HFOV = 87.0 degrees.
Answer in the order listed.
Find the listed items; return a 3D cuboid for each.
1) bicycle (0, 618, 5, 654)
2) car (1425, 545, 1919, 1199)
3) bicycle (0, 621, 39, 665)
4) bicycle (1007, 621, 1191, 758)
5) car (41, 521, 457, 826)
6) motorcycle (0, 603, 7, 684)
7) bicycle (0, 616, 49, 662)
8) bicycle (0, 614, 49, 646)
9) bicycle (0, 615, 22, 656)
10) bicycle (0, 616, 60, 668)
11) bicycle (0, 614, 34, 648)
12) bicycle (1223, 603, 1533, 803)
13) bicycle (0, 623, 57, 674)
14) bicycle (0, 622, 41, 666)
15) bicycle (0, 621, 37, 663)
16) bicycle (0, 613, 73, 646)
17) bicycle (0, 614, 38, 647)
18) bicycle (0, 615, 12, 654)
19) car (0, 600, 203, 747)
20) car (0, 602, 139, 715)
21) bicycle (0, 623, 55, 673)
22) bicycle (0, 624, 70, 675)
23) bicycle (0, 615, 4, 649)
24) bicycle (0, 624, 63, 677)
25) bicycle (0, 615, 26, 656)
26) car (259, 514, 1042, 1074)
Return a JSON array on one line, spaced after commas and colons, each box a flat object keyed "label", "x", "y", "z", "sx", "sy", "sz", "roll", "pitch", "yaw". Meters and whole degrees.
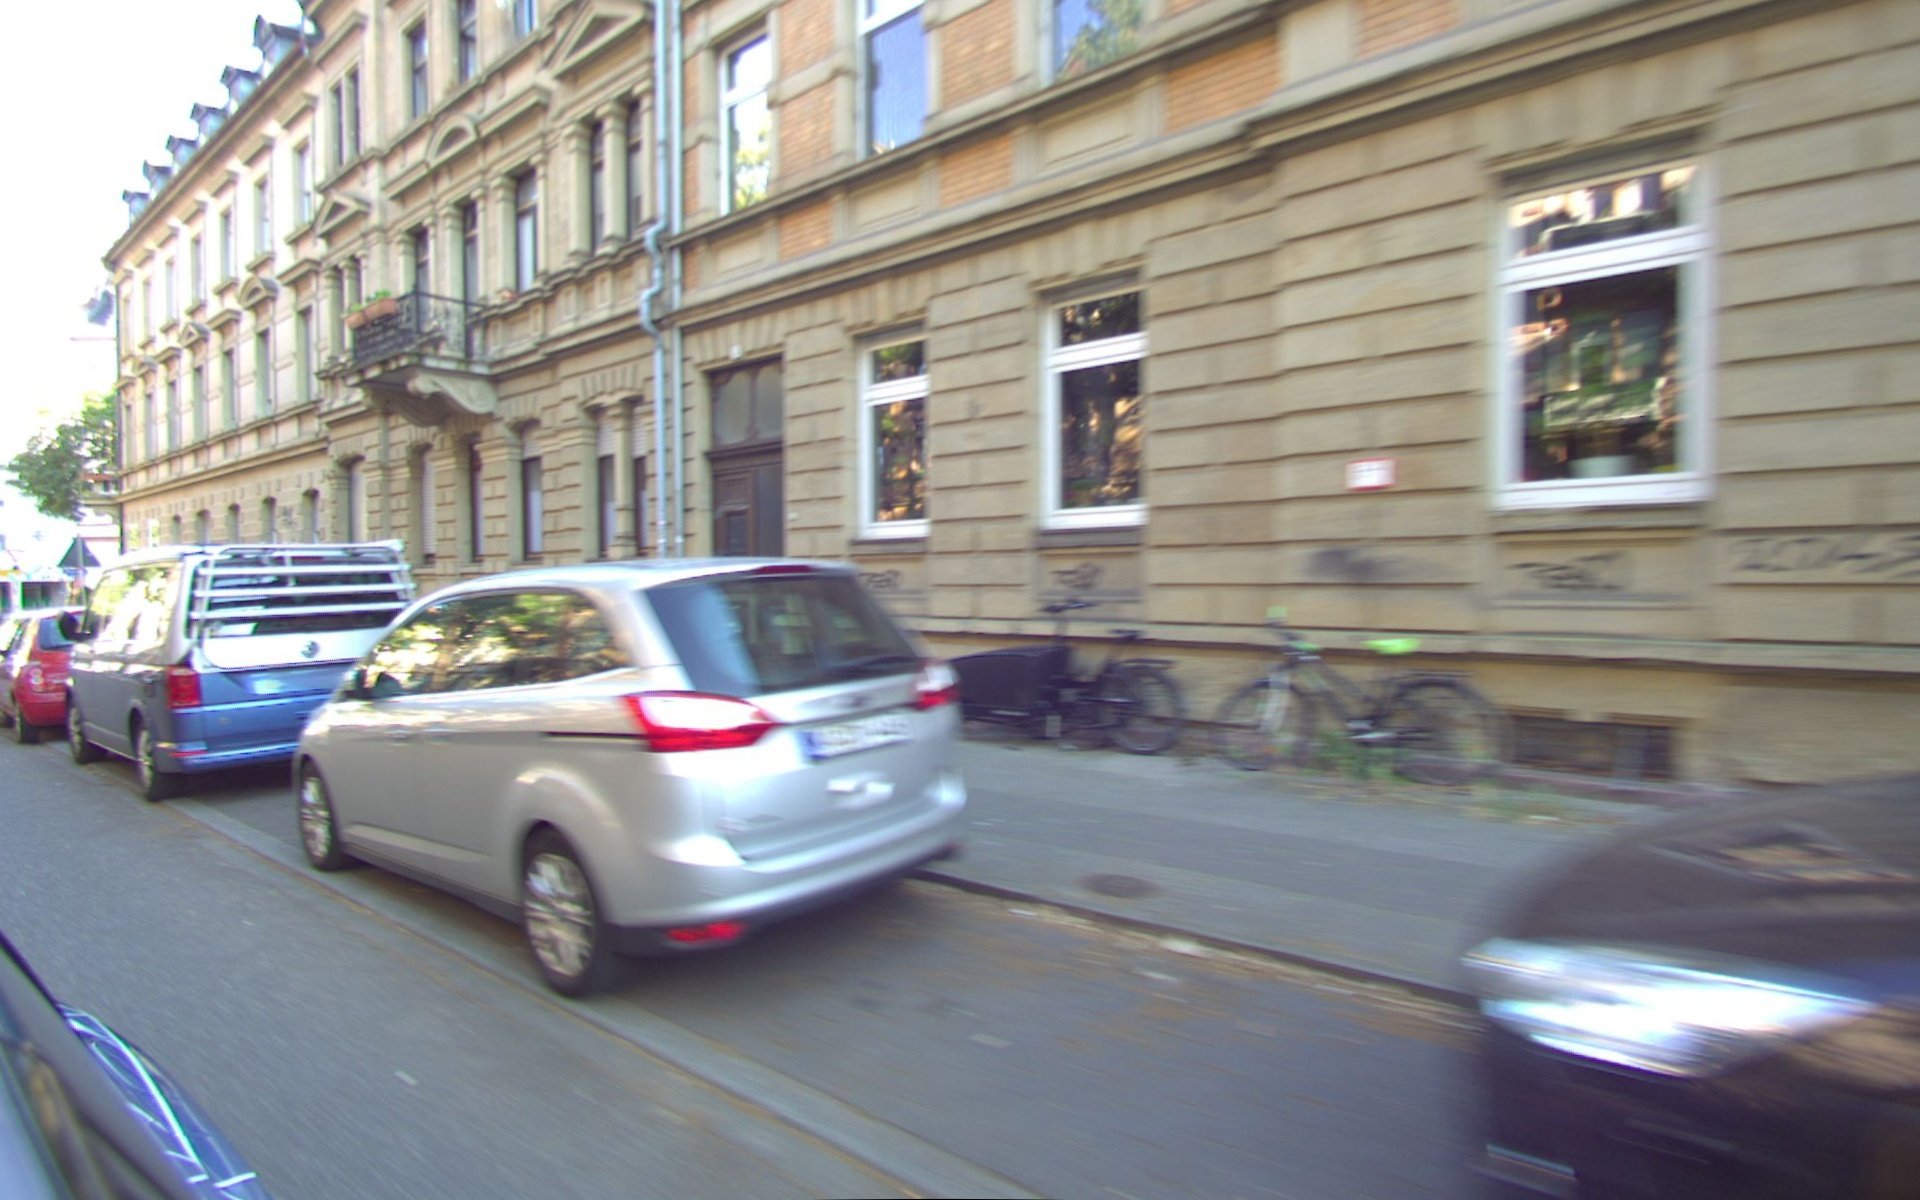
[{"label": "bicycle", "x": -30.055, "y": 1.128, "z": 30.328, "sx": 0.499, "sy": 1.106, "sz": 2.016, "roll": -1, "pitch": 1, "yaw": 42}, {"label": "car", "x": 2.756, "y": 0.604, "z": 1.080, "sx": 3.821, "sy": 1.432, "sz": 1.621, "roll": -1, "pitch": 1, "yaw": 39}, {"label": "bicycle", "x": -25.399, "y": 1.150, "z": 26.372, "sx": 0.499, "sy": 1.106, "sz": 2.016, "roll": -1, "pitch": 1, "yaw": 42}, {"label": "bicycle", "x": 1.076, "y": 0.665, "z": 8.000, "sx": 1.390, "sy": 0.976, "sz": 0.459, "roll": -1, "pitch": 1, "yaw": 38}, {"label": "car", "x": -6.595, "y": 0.489, "z": 9.156, "sx": 4.742, "sy": 2.072, "sz": 1.922, "roll": -1, "pitch": 1, "yaw": 41}, {"label": "motorcycle", "x": -18.945, "y": 0.836, "z": 19.459, "sx": 2.488, "sy": 1.502, "sz": 0.616, "roll": -1, "pitch": 1, "yaw": 41}, {"label": "bicycle", "x": -23.825, "y": 0.983, "z": 24.905, "sx": 0.499, "sy": 1.106, "sz": 2.016, "roll": -1, "pitch": 1, "yaw": 42}, {"label": "bicycle", "x": -34.447, "y": 1.100, "z": 36.729, "sx": 2.013, "sy": 1.106, "sz": 0.500, "roll": -3, "pitch": 1, "yaw": -40}, {"label": "bicycle", "x": -27.484, "y": 1.028, "z": 28.115, "sx": 0.499, "sy": 1.106, "sz": 2.016, "roll": -1, "pitch": 1, "yaw": 42}, {"label": "bicycle", "x": -21.561, "y": 0.956, "z": 22.674, "sx": 0.587, "sy": 1.106, "sz": 2.016, "roll": -1, "pitch": 1, "yaw": 42}, {"label": "bicycle", "x": -32.977, "y": 1.087, "z": 34.516, "sx": 2.013, "sy": 1.106, "sz": 0.500, "roll": -3, "pitch": 1, "yaw": -41}, {"label": "bicycle", "x": 2.571, "y": 0.584, "z": 6.350, "sx": 1.725, "sy": 1.104, "sz": 0.459, "roll": -1, "pitch": 1, "yaw": 38}, {"label": "bicycle", "x": -21.982, "y": 1.126, "z": 23.057, "sx": 0.499, "sy": 1.106, "sz": 2.016, "roll": -1, "pitch": 1, "yaw": 42}, {"label": "bicycle", "x": -24.960, "y": 1.159, "z": 25.923, "sx": 0.499, "sy": 1.106, "sz": 2.016, "roll": -1, "pitch": 1, "yaw": 42}, {"label": "bicycle", "x": -26.251, "y": 1.170, "z": 27.236, "sx": 0.499, "sy": 1.106, "sz": 2.016, "roll": -1, "pitch": 1, "yaw": 42}, {"label": "bicycle", "x": -34.802, "y": 1.100, "z": 38.146, "sx": 2.012, "sy": 1.106, "sz": 0.500, "roll": -3, "pitch": 1, "yaw": -37}, {"label": "bicycle", "x": -33.796, "y": 1.095, "z": 35.542, "sx": 2.013, "sy": 1.106, "sz": 0.500, "roll": -3, "pitch": 1, "yaw": -40}, {"label": "bicycle", "x": -28.562, "y": 1.042, "z": 28.967, "sx": 0.499, "sy": 1.106, "sz": 2.016, "roll": -1, "pitch": 1, "yaw": 42}, {"label": "car", "x": -10.932, "y": 0.792, "z": 12.578, "sx": 3.823, "sy": 1.502, "sz": 1.620, "roll": -1, "pitch": 1, "yaw": 41}, {"label": "car", "x": -14.242, "y": 0.827, "z": 15.728, "sx": 3.823, "sy": 1.502, "sz": 1.620, "roll": -1, "pitch": 1, "yaw": 41}, {"label": "bicycle", "x": -22.799, "y": 1.159, "z": 23.940, "sx": 0.499, "sy": 1.106, "sz": 2.016, "roll": -1, "pitch": 1, "yaw": 42}, {"label": "bicycle", "x": -22.189, "y": 1.159, "z": 23.650, "sx": 0.587, "sy": 1.106, "sz": 2.016, "roll": -1, "pitch": 1, "yaw": 42}, {"label": "bicycle", "x": -32.663, "y": 1.099, "z": 33.057, "sx": 0.499, "sy": 1.106, "sz": 2.016, "roll": -1, "pitch": 1, "yaw": 42}, {"label": "bicycle", "x": -21.131, "y": 1.133, "z": 22.263, "sx": 0.587, "sy": 1.106, "sz": 2.016, "roll": -1, "pitch": 1, "yaw": 42}, {"label": "bicycle", "x": -26.961, "y": 0.998, "z": 27.679, "sx": 0.499, "sy": 1.106, "sz": 2.016, "roll": -1, "pitch": 1, "yaw": 42}, {"label": "car", "x": -1.802, "y": 0.569, "z": 5.039, "sx": 4.155, "sy": 1.670, "sz": 1.749, "roll": -1, "pitch": 1, "yaw": 41}]
